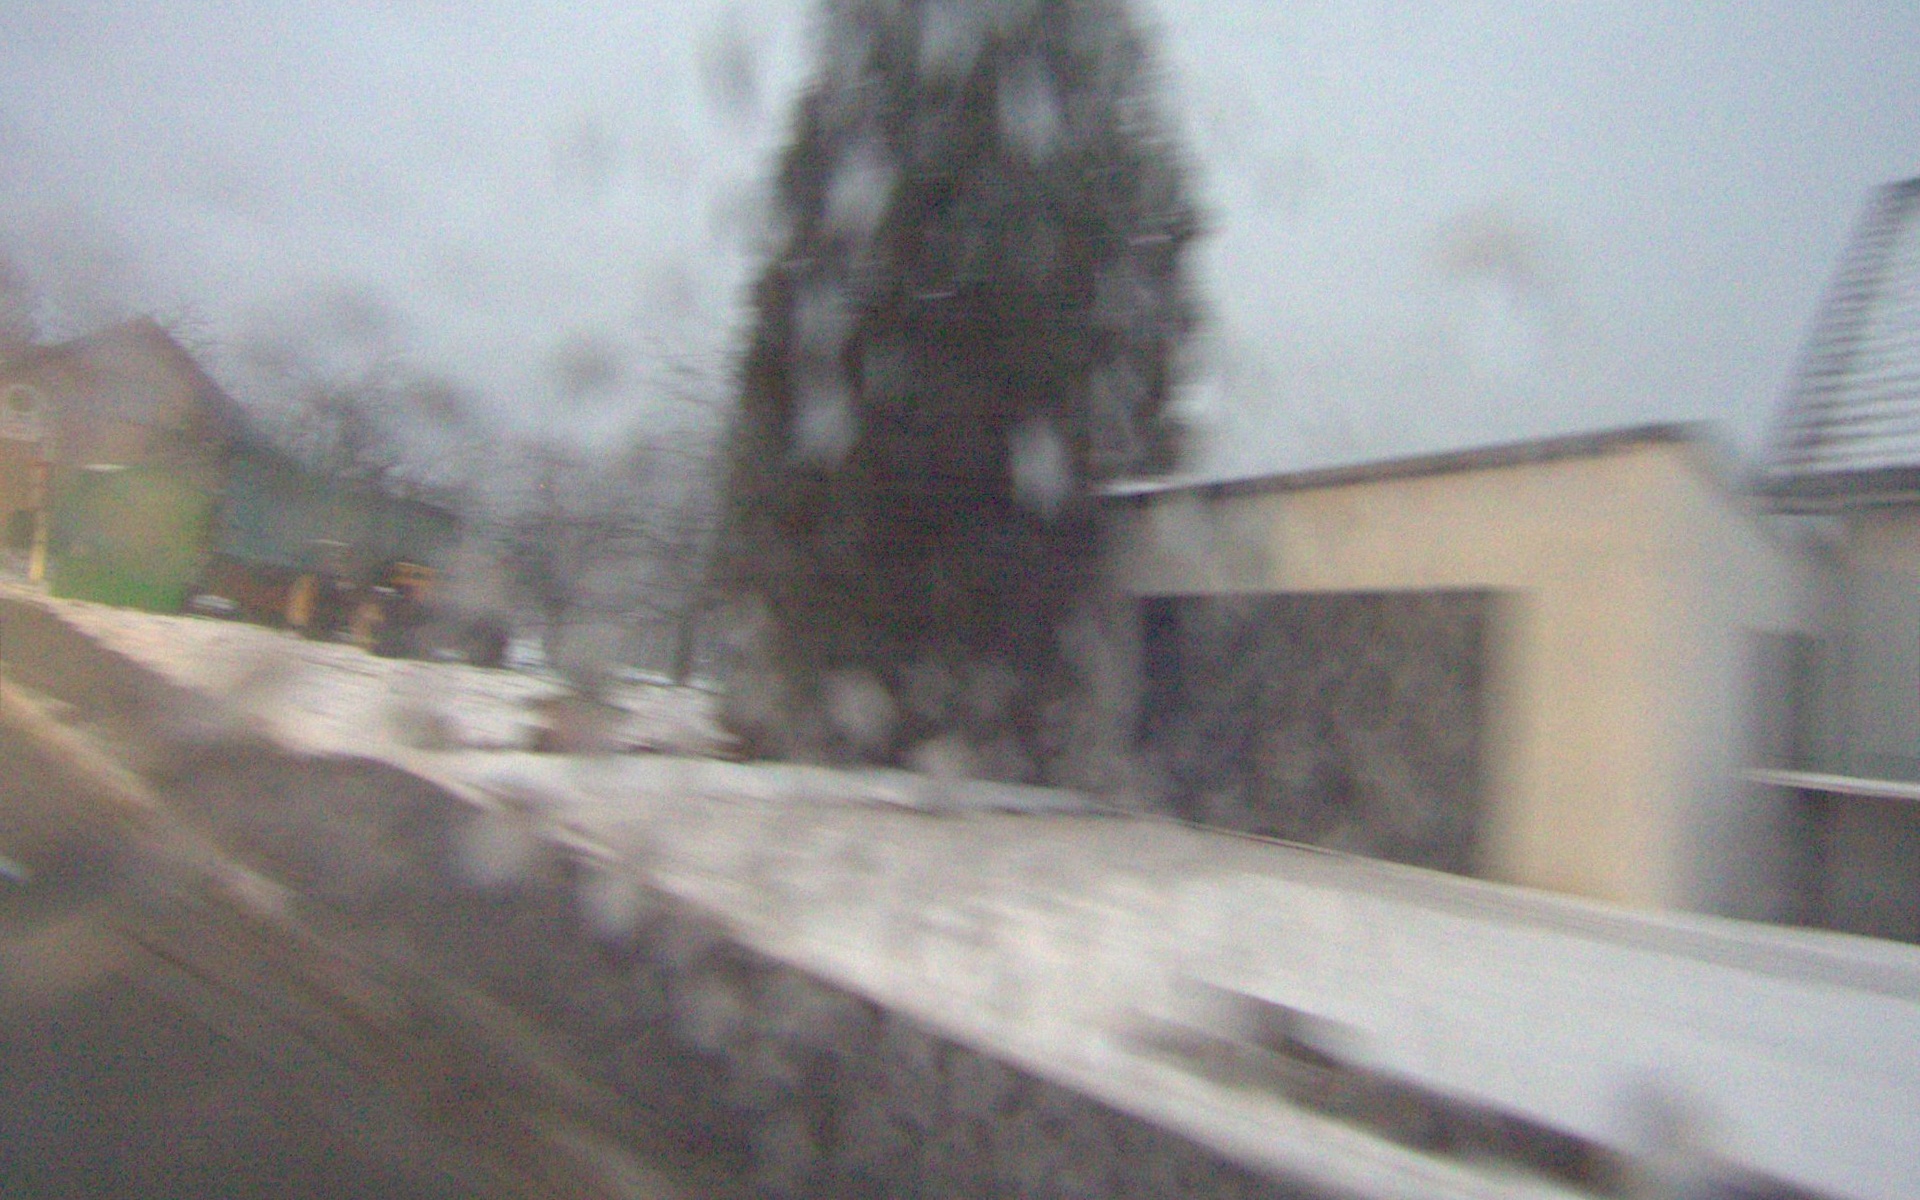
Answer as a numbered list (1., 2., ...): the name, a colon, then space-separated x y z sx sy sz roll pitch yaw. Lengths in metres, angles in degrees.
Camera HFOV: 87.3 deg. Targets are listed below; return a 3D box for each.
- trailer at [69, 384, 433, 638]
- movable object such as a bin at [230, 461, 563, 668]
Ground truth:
1. trailer: -12.274 -1.507 17.457 4.975 3.600 2.884 6 -3 28
2. movable object such as a bin: -8.490 -0.559 15.079 4.444 2.496 2.391 5 -3 35
